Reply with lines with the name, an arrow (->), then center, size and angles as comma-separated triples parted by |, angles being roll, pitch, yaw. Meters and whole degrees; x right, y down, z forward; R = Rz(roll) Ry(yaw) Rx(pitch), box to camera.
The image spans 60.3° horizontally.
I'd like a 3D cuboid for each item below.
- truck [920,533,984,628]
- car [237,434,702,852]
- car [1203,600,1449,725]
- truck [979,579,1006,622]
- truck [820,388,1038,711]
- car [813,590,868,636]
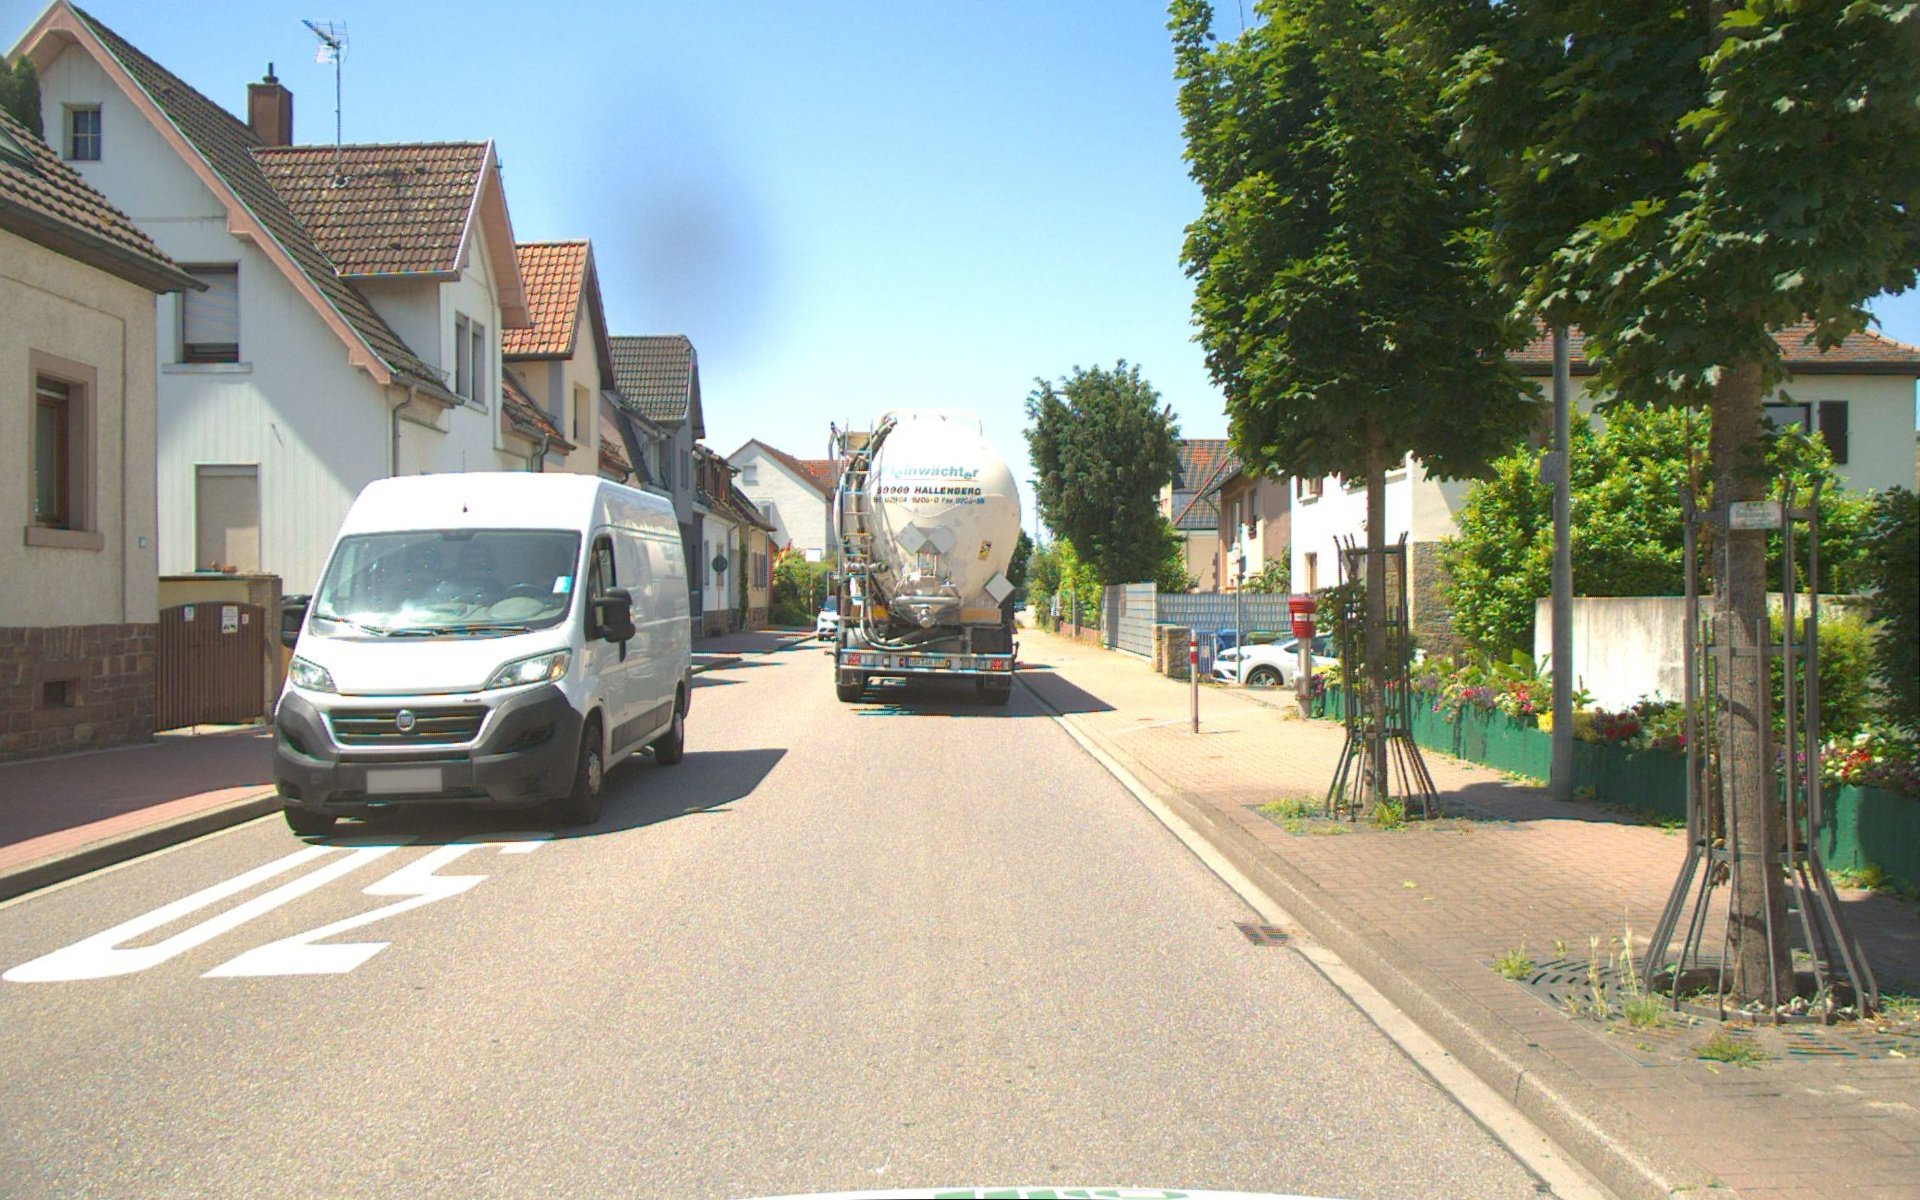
truck -> -0.275, -0.806, 75.166 | 2.676, 4.029, 8.142 | 1, -1, 1
car -> -3.460, 0.255, 13.120 | 2.028, 2.498, 6.005 | -1, 0, -2
car -> 6.919, 1.165, 31.603 | 4.090, 1.613, 1.906 | 10, 0, -1
truck -> 2.579, 0.052, 128.473 | 1.952, 3.192, 9.450 | 2, 0, 2
truck -> -0.504, -0.595, 24.965 | 2.677, 4.029, 8.138 | 1, -1, -2
car -> -4.485, 0.476, 62.564 | 1.813, 1.599, 4.253 | -3, 0, -2
